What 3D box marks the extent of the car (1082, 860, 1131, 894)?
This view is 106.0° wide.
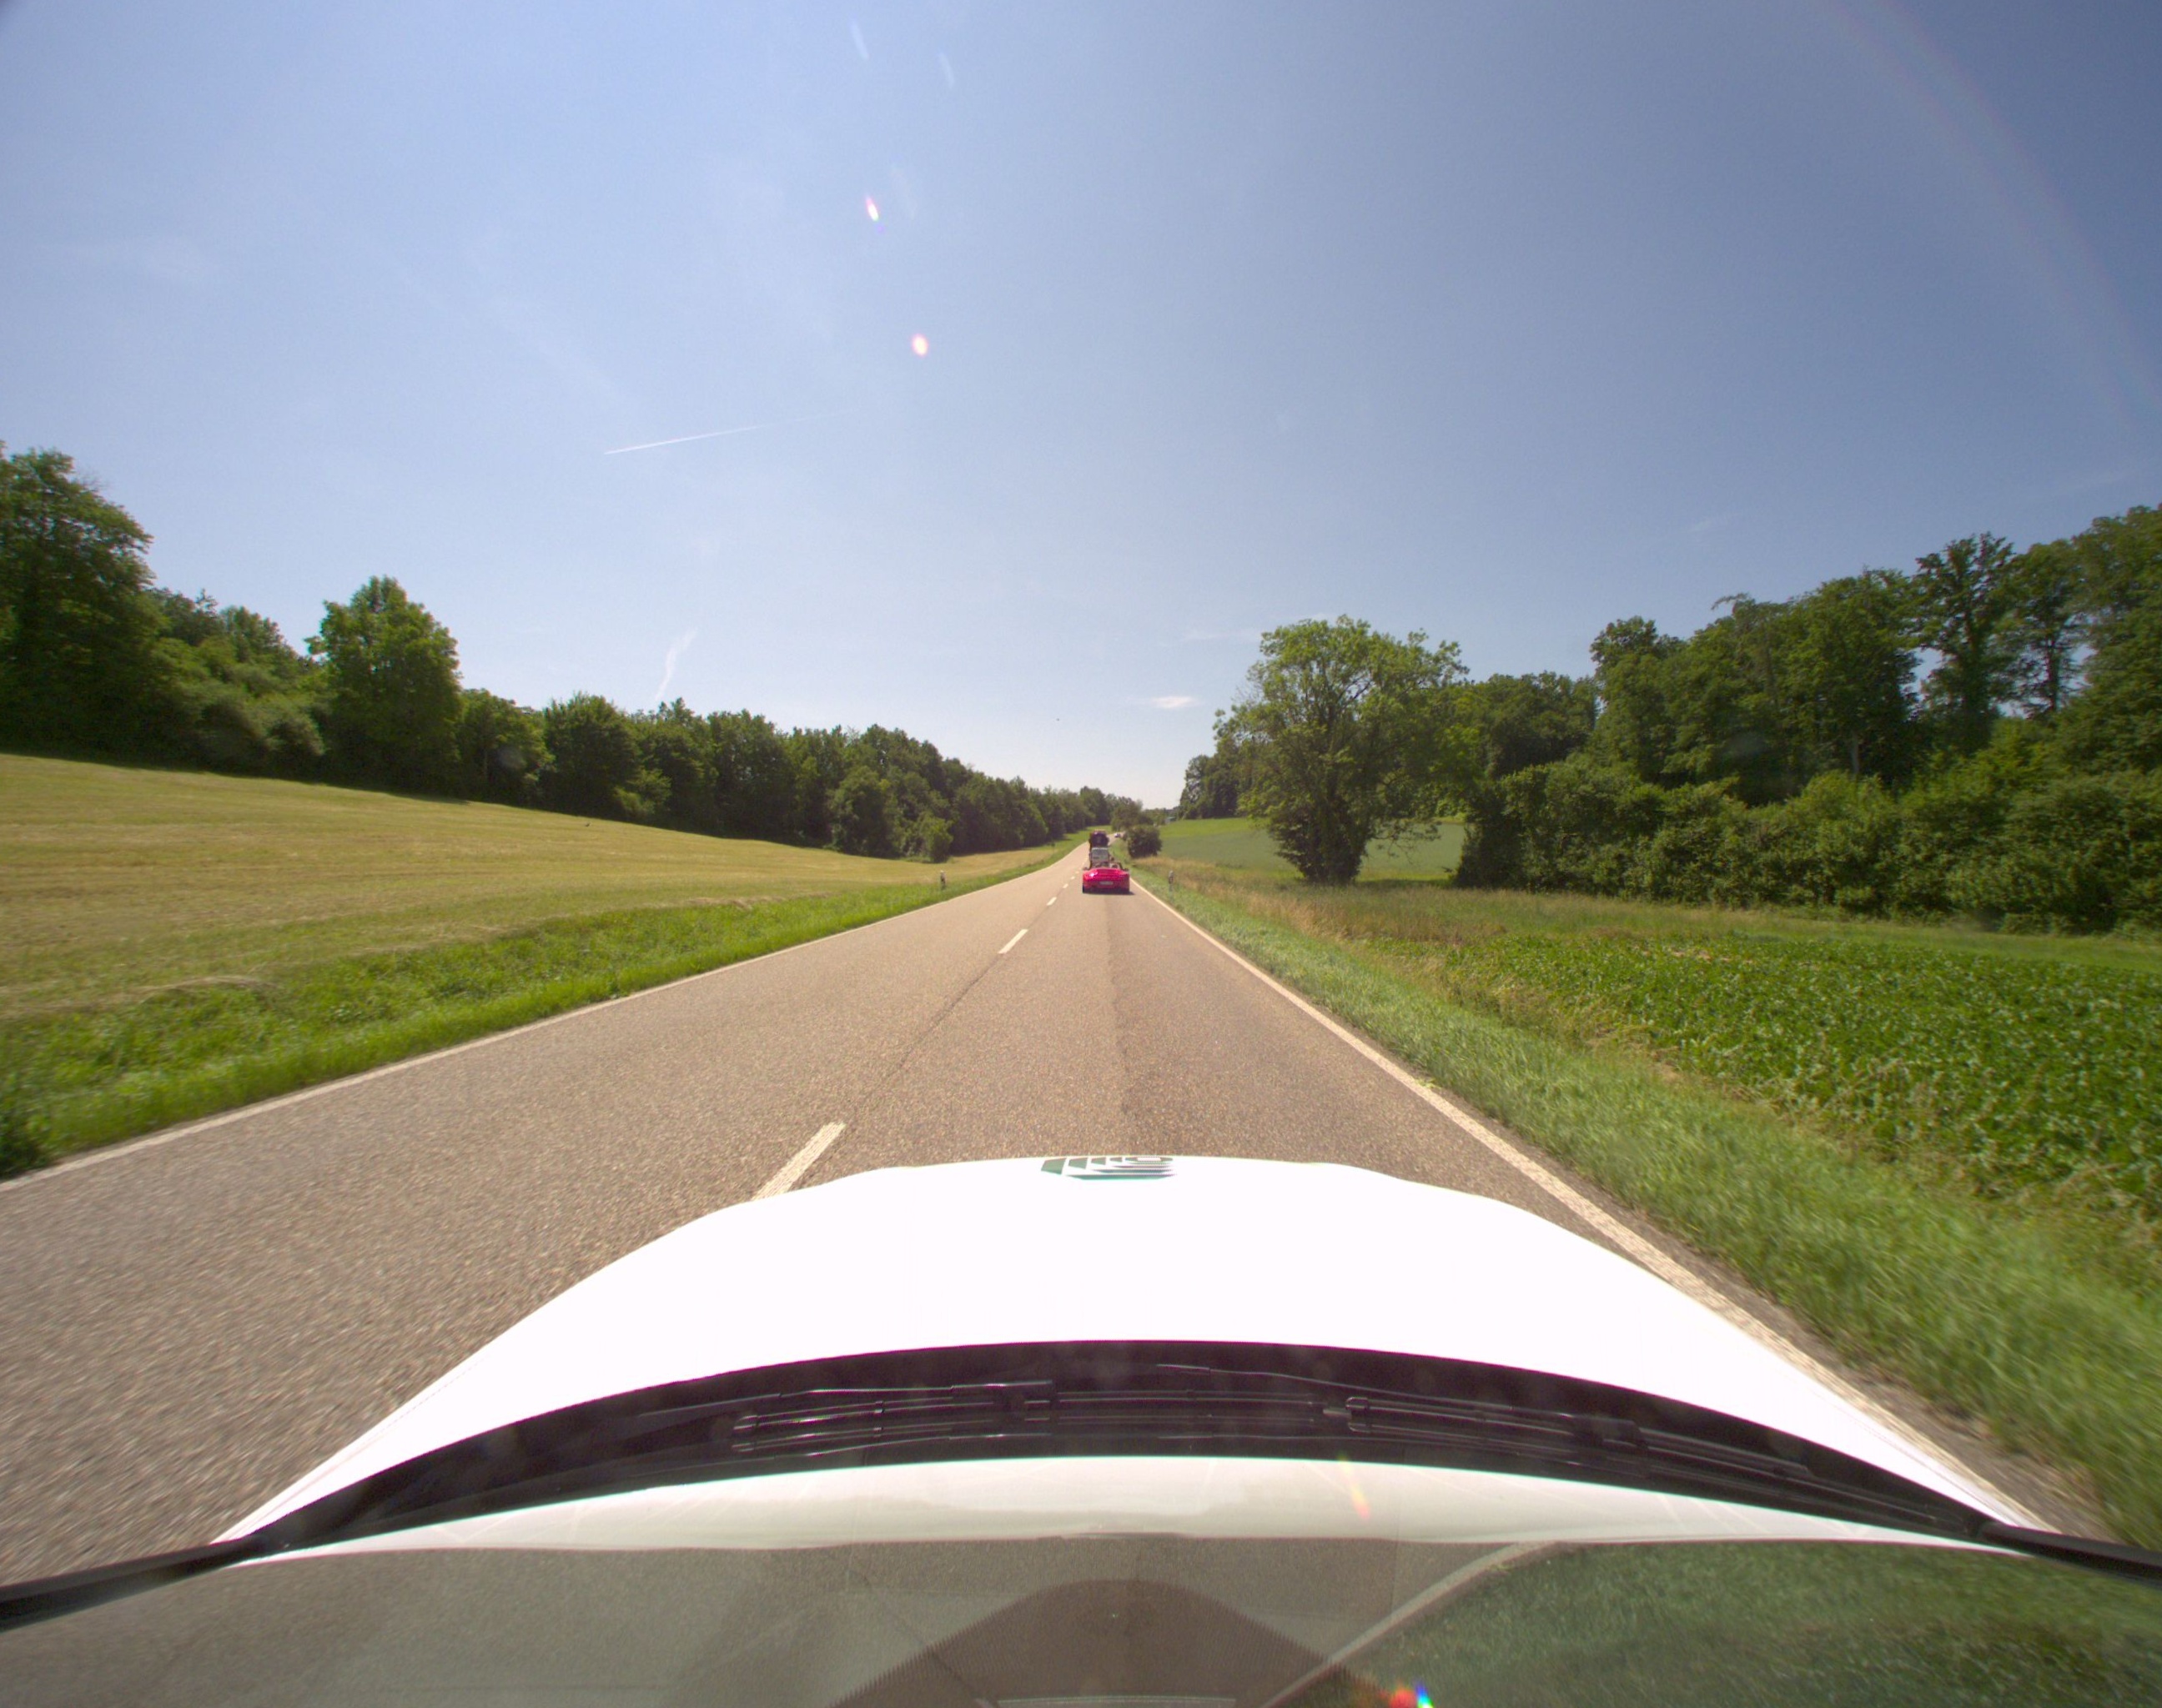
[{"bbox_3d":[1.015,0.902,33.130,1.876,1.255,4.010,1,0,1],"label":"car"}]

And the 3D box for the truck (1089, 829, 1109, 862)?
[{"bbox_3d":[2.503,-1.311,114.394,2.396,4.048,12.552,-2,2,0],"label":"truck"}]

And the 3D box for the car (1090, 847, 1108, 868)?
[{"bbox_3d":[1.746,0.339,78.029,1.672,1.900,4.011,-3,0,2],"label":"car"}]

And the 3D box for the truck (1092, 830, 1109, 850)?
[{"bbox_3d":[4.737,-3.512,197.706,3.713,4.660,12.030,-2,2,0],"label":"truck"}]
